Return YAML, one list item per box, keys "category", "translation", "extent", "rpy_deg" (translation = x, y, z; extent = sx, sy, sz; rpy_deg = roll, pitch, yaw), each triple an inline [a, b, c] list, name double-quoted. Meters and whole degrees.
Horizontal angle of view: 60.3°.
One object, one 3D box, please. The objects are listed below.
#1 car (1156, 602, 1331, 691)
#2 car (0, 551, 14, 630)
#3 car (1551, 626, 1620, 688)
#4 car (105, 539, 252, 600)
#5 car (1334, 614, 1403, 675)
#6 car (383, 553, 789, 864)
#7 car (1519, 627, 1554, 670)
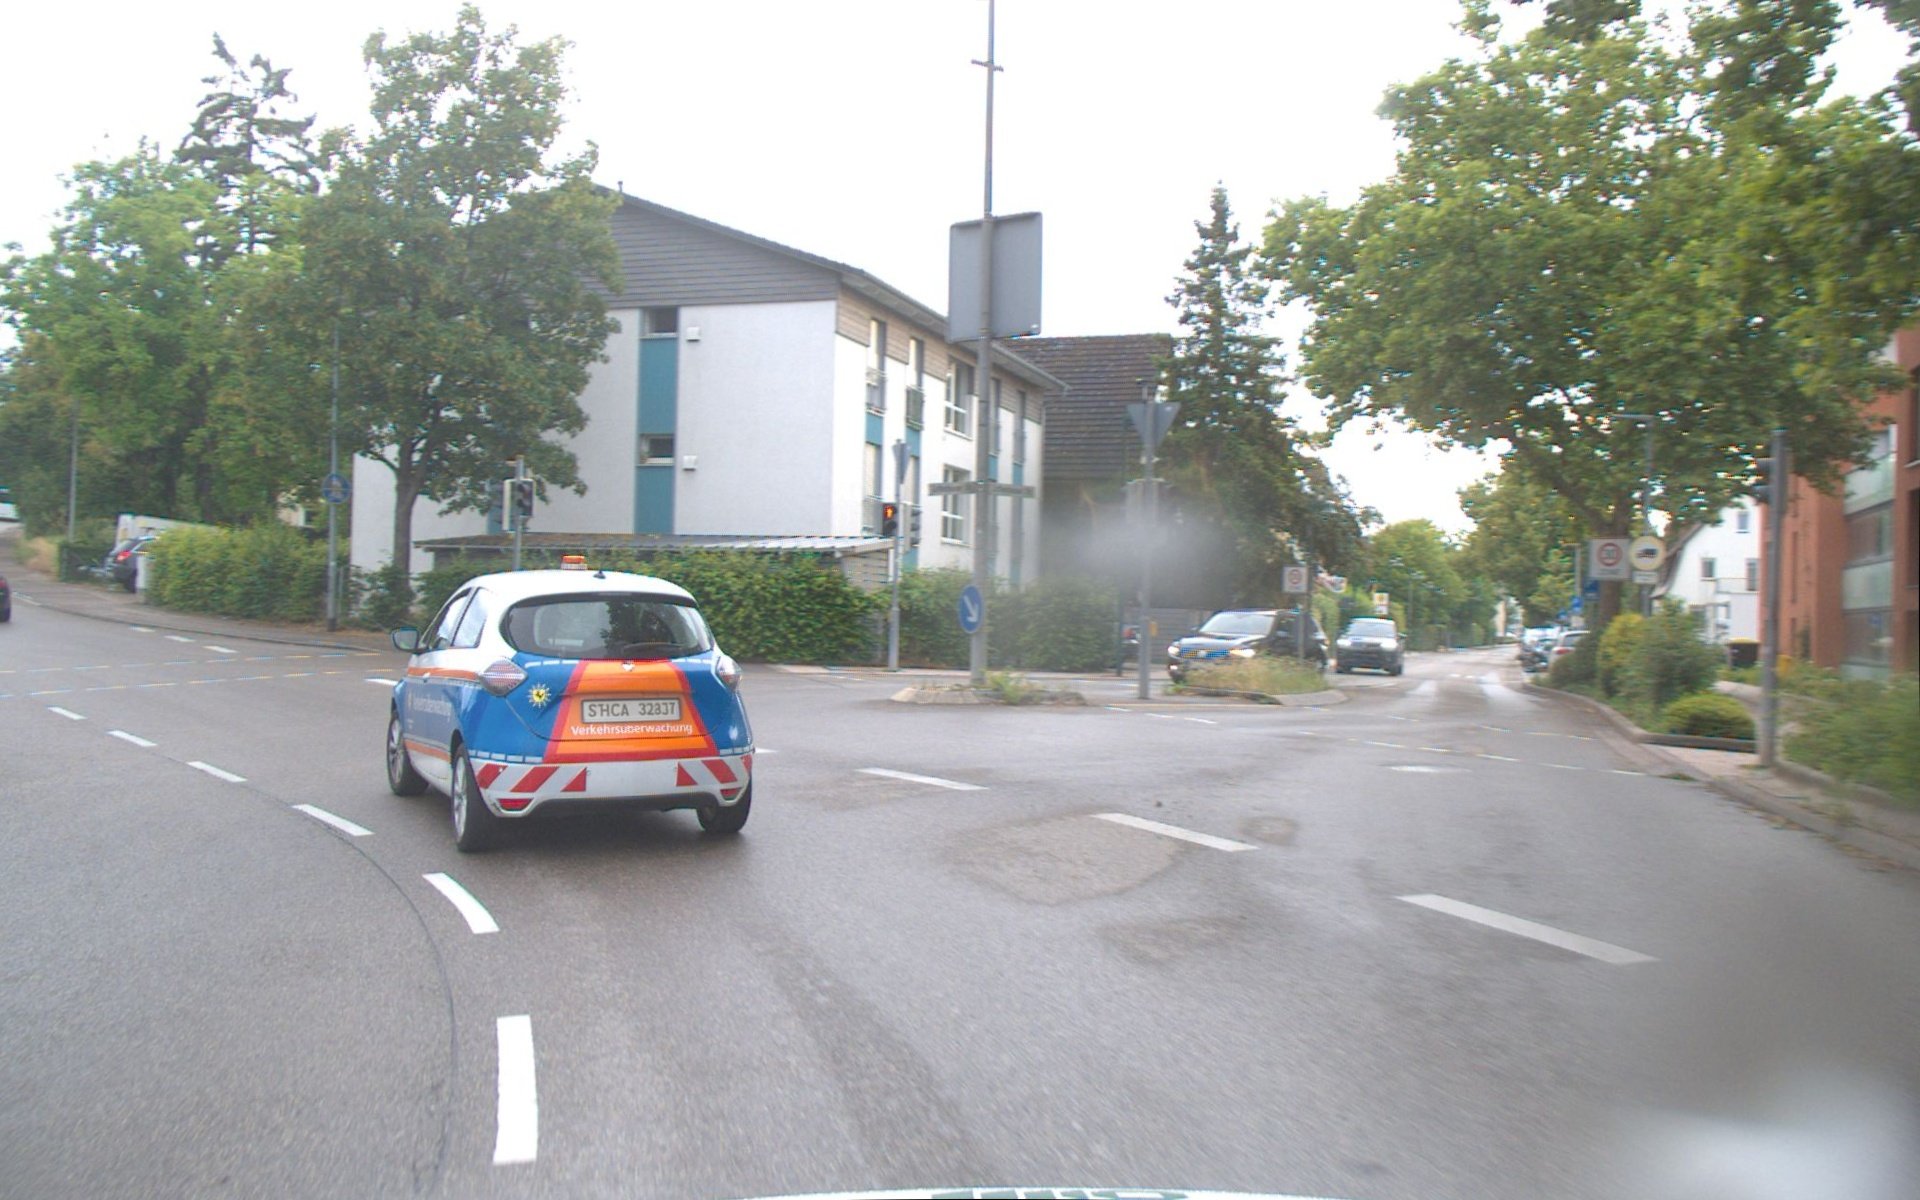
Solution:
- category: "car"
  translation: [5.462, 0.892, 31.425]
  extent: [1.906, 1.477, 4.291]
  rpy_deg: [3, -1, 29]
- category: "car"
  translation: [-21.570, -0.264, 35.503]
  extent: [1.975, 1.601, 3.956]
  rpy_deg: [1, 1, -33]
- category: "car"
  translation: [17.505, 1.547, 46.402]
  extent: [1.609, 1.539, 4.148]
  rpy_deg: [2, 1, 18]
- category: "car"
  translation: [-24.298, -0.943, 51.441]
  extent: [3.948, 1.753, 1.979]
  rpy_deg: [1, 1, -32]
- category: "car"
  translation: [12.460, 1.320, 50.308]
  extent: [1.838, 1.698, 3.716]
  rpy_deg: [2, 0, 16]
- category: "car"
  translation: [-2.600, 0.557, 10.745]
  extent: [1.724, 1.609, 3.967]
  rpy_deg: [1, 0, -26]
- category: "car"
  translation: [30.294, 2.528, 87.013]
  extent: [1.609, 2.052, 3.717]
  rpy_deg: [2, 0, 18]
